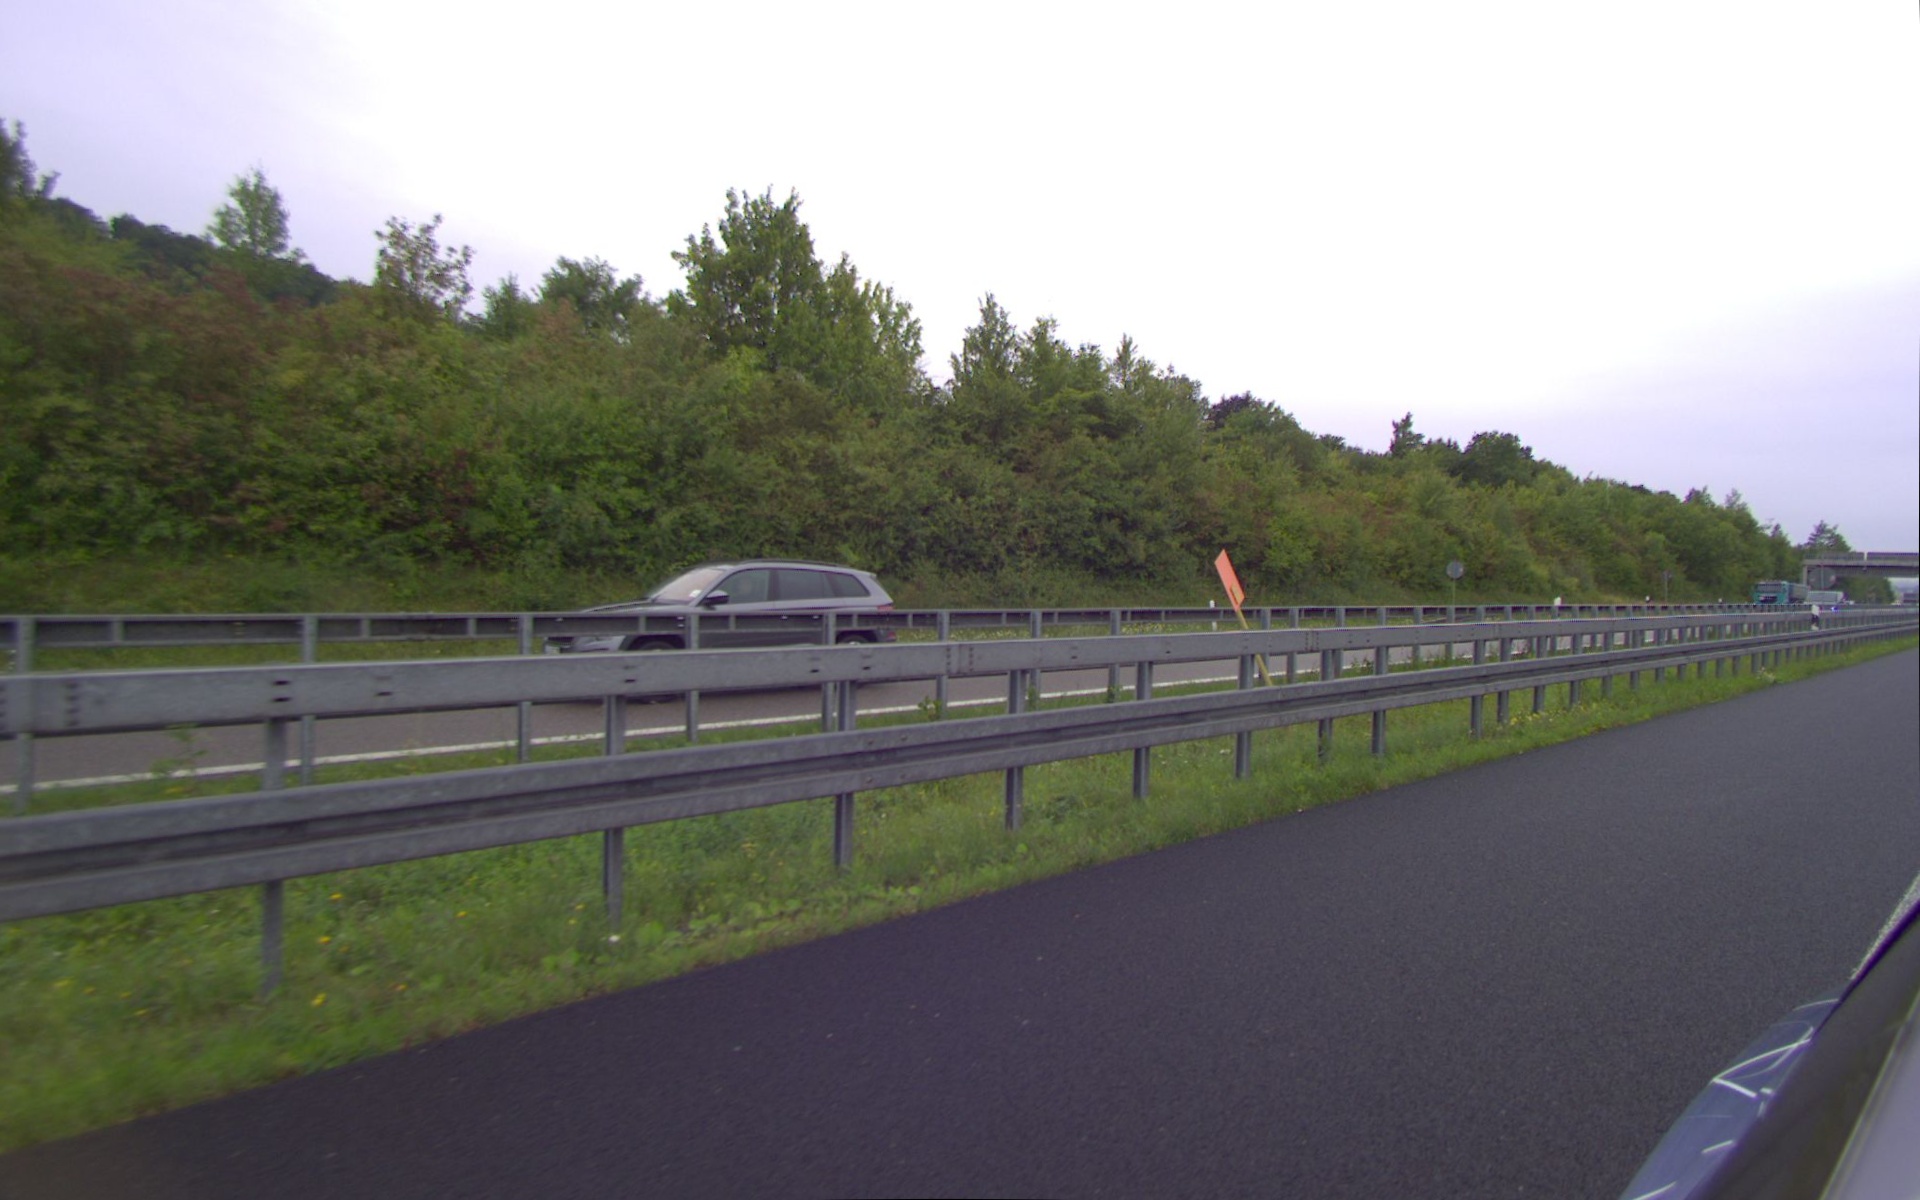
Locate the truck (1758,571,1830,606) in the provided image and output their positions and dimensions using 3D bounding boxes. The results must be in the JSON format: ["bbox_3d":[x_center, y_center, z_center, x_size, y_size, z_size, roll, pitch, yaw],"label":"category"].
[{"bbox_3d":[87.227,-1.167,105.728,13.106,3.460,2.910,0,1,-37],"label":"truck"}]

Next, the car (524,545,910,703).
[{"bbox_3d":[-2.983,0.229,12.959,4.395,1.676,2.011,0,1,-42],"label":"car"}]
